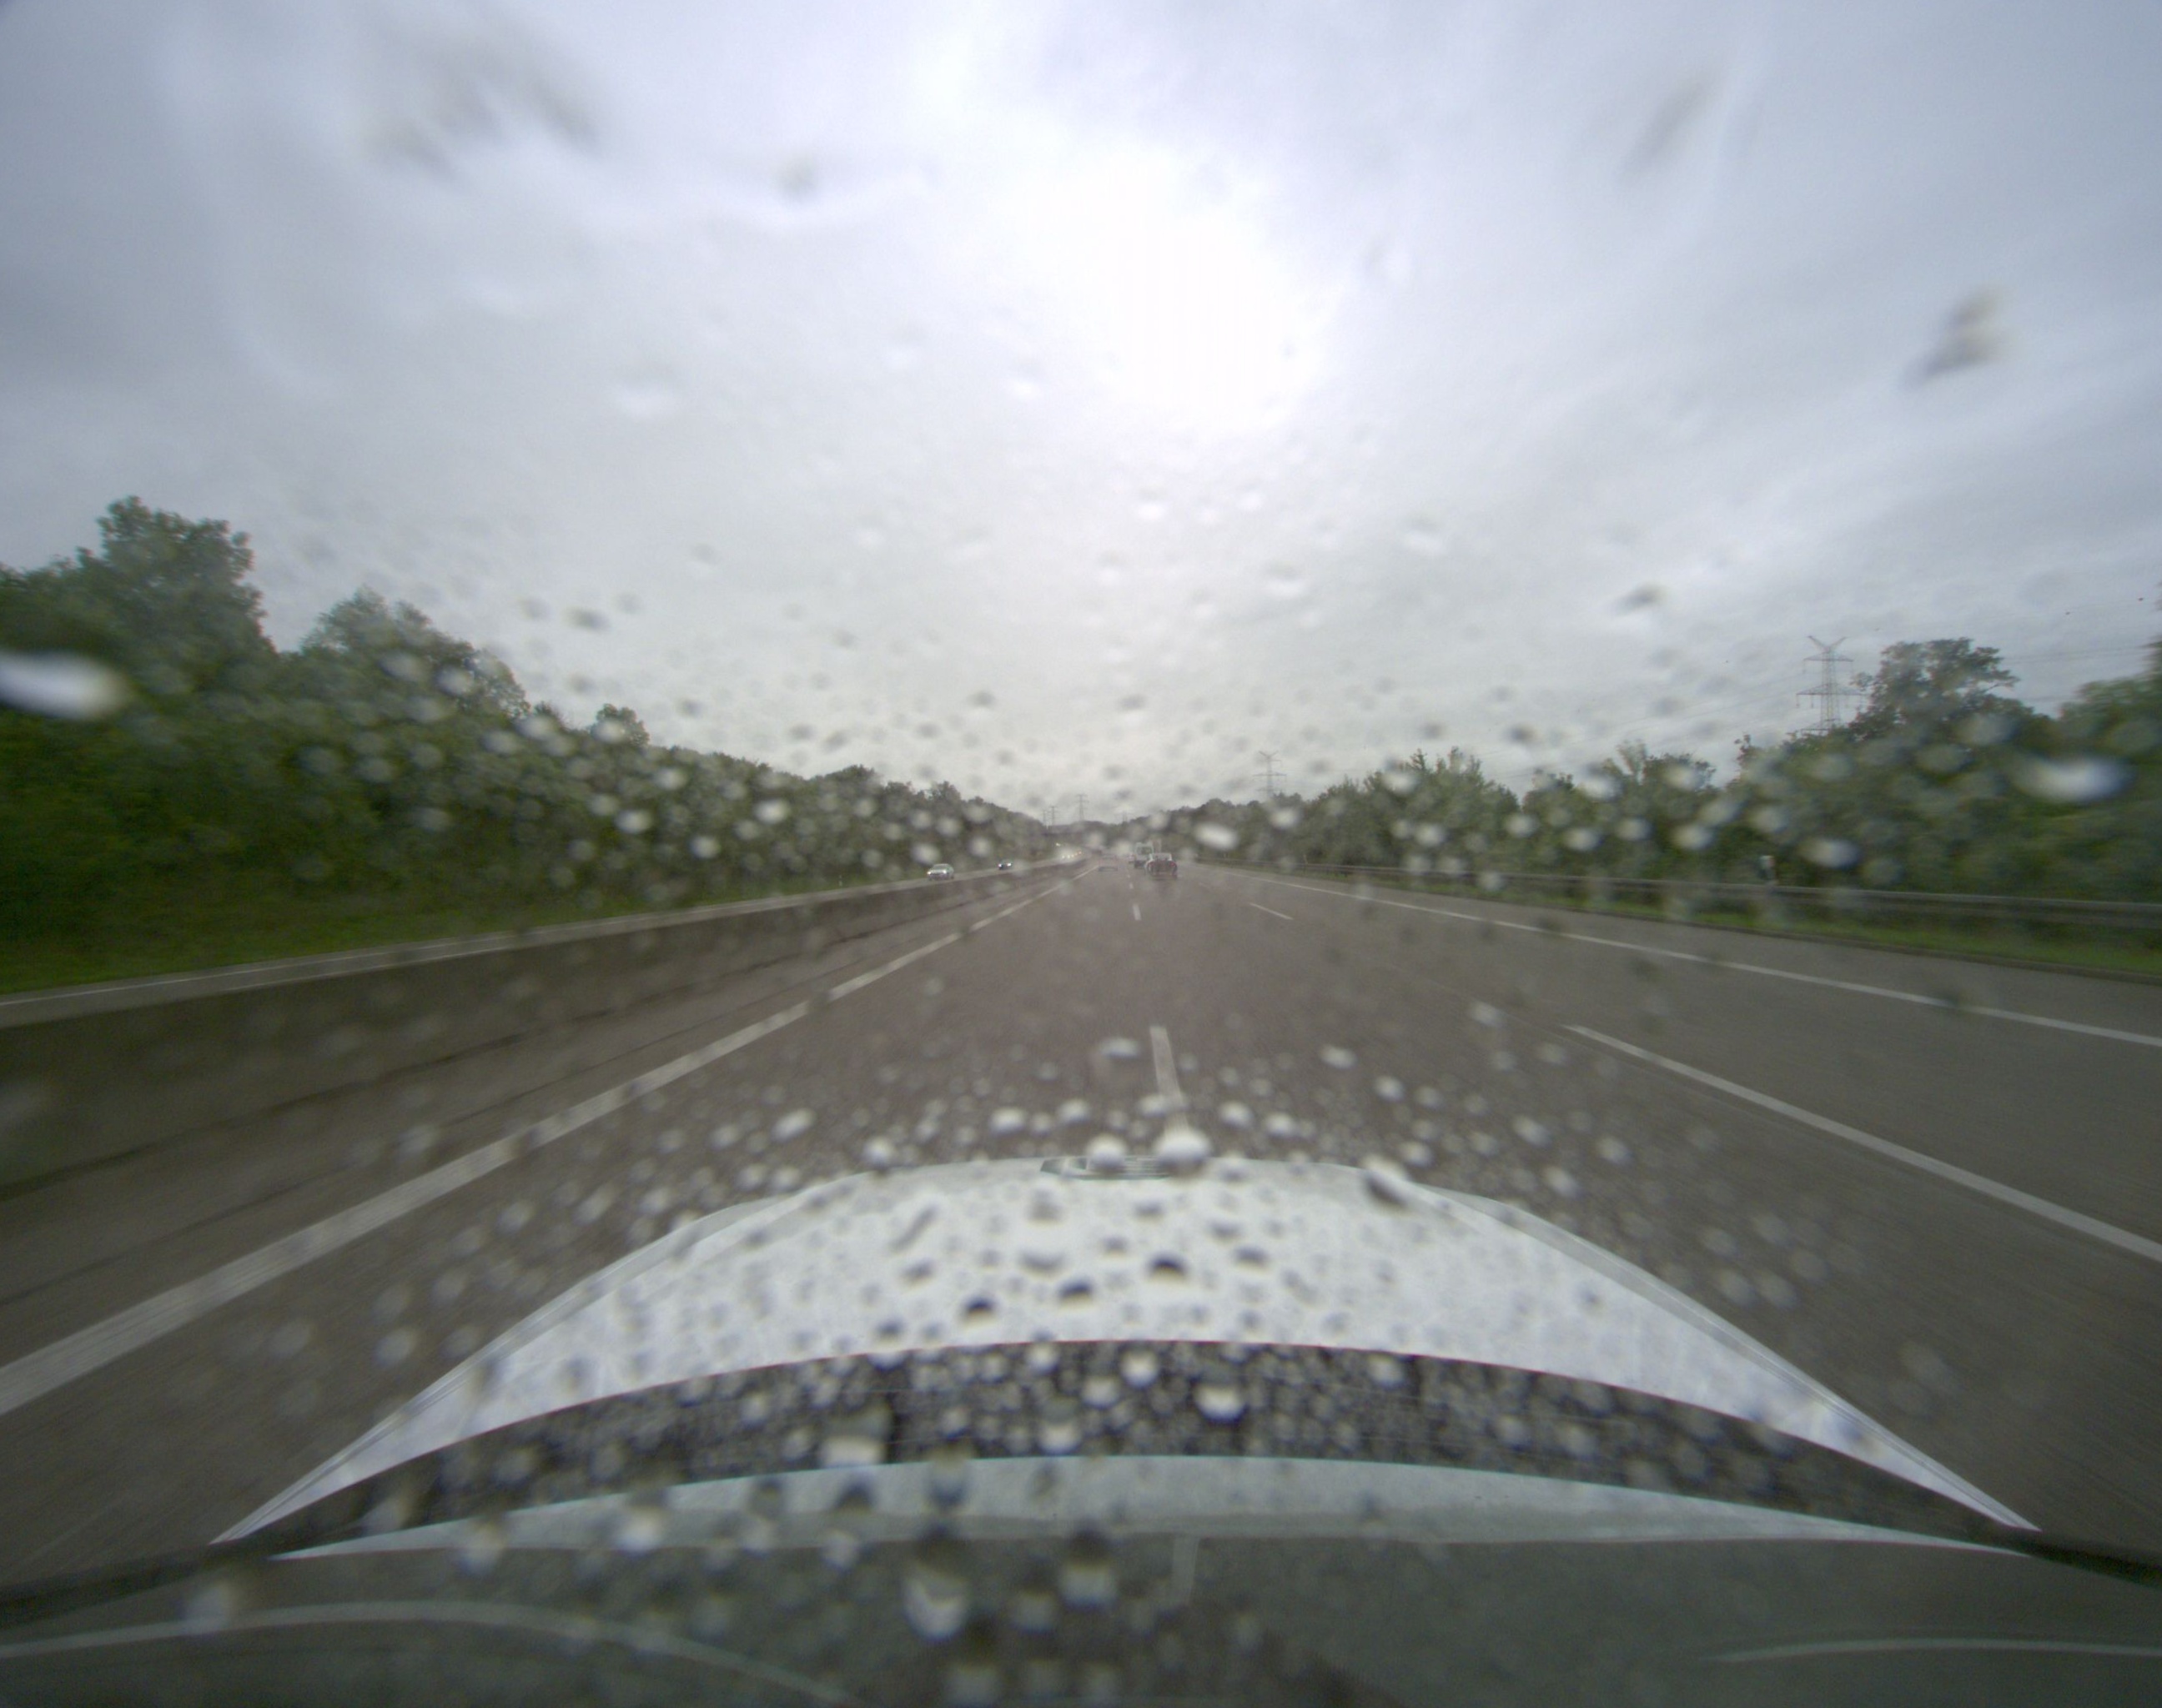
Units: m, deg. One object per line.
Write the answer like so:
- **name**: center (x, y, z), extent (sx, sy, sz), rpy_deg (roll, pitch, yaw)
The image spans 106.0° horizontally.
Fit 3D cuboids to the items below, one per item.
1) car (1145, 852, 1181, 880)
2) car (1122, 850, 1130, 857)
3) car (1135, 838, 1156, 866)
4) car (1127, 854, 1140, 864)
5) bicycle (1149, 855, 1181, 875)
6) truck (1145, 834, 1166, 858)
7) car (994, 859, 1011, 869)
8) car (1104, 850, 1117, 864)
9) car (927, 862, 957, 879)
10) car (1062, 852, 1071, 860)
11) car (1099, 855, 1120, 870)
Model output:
- **car**: center (4.910, 0.682, 49.512), extent (1.853, 1.568, 4.967), rpy_deg (-1, 0, 2)
- **car**: center (11.808, -0.088, 212.497), extent (1.986, 1.574, 4.002), rpy_deg (-3, 0, 2)
- **car**: center (6.858, -0.208, 87.104), extent (1.985, 2.864, 4.004), rpy_deg (-2, 0, 3)
- **car**: center (7.723, 0.716, 120.210), extent (1.849, 1.422, 4.003), rpy_deg (-1, 1, 3)
- **bicycle**: center (4.794, 0.642, 46.575), extent (1.747, 1.090, 0.914), rpy_deg (-1, -1, 1)
- **truck**: center (14.242, -1.463, 156.304), extent (3.588, 4.332, 13.212), rpy_deg (-2, 0, 4)
- **car**: center (-11.655, 1.510, 120.792), extent (1.791, 1.385, 4.470), rpy_deg (-2, 0, 2)
- **car**: center (4.087, 0.428, 113.335), extent (1.839, 1.772, 4.001), rpy_deg (0, -1, 2)
- **car**: center (-13.046, 1.501, 76.561), extent (1.791, 1.450, 4.631), rpy_deg (-2, 0, 2)
- **car**: center (-3.638, 0.476, 203.969), extent (1.986, 1.688, 4.919), rpy_deg (-3, 0, 2)
- **car**: center (2.693, 0.760, 76.693), extent (1.859, 1.288, 4.002), rpy_deg (-2, 0, 2)
